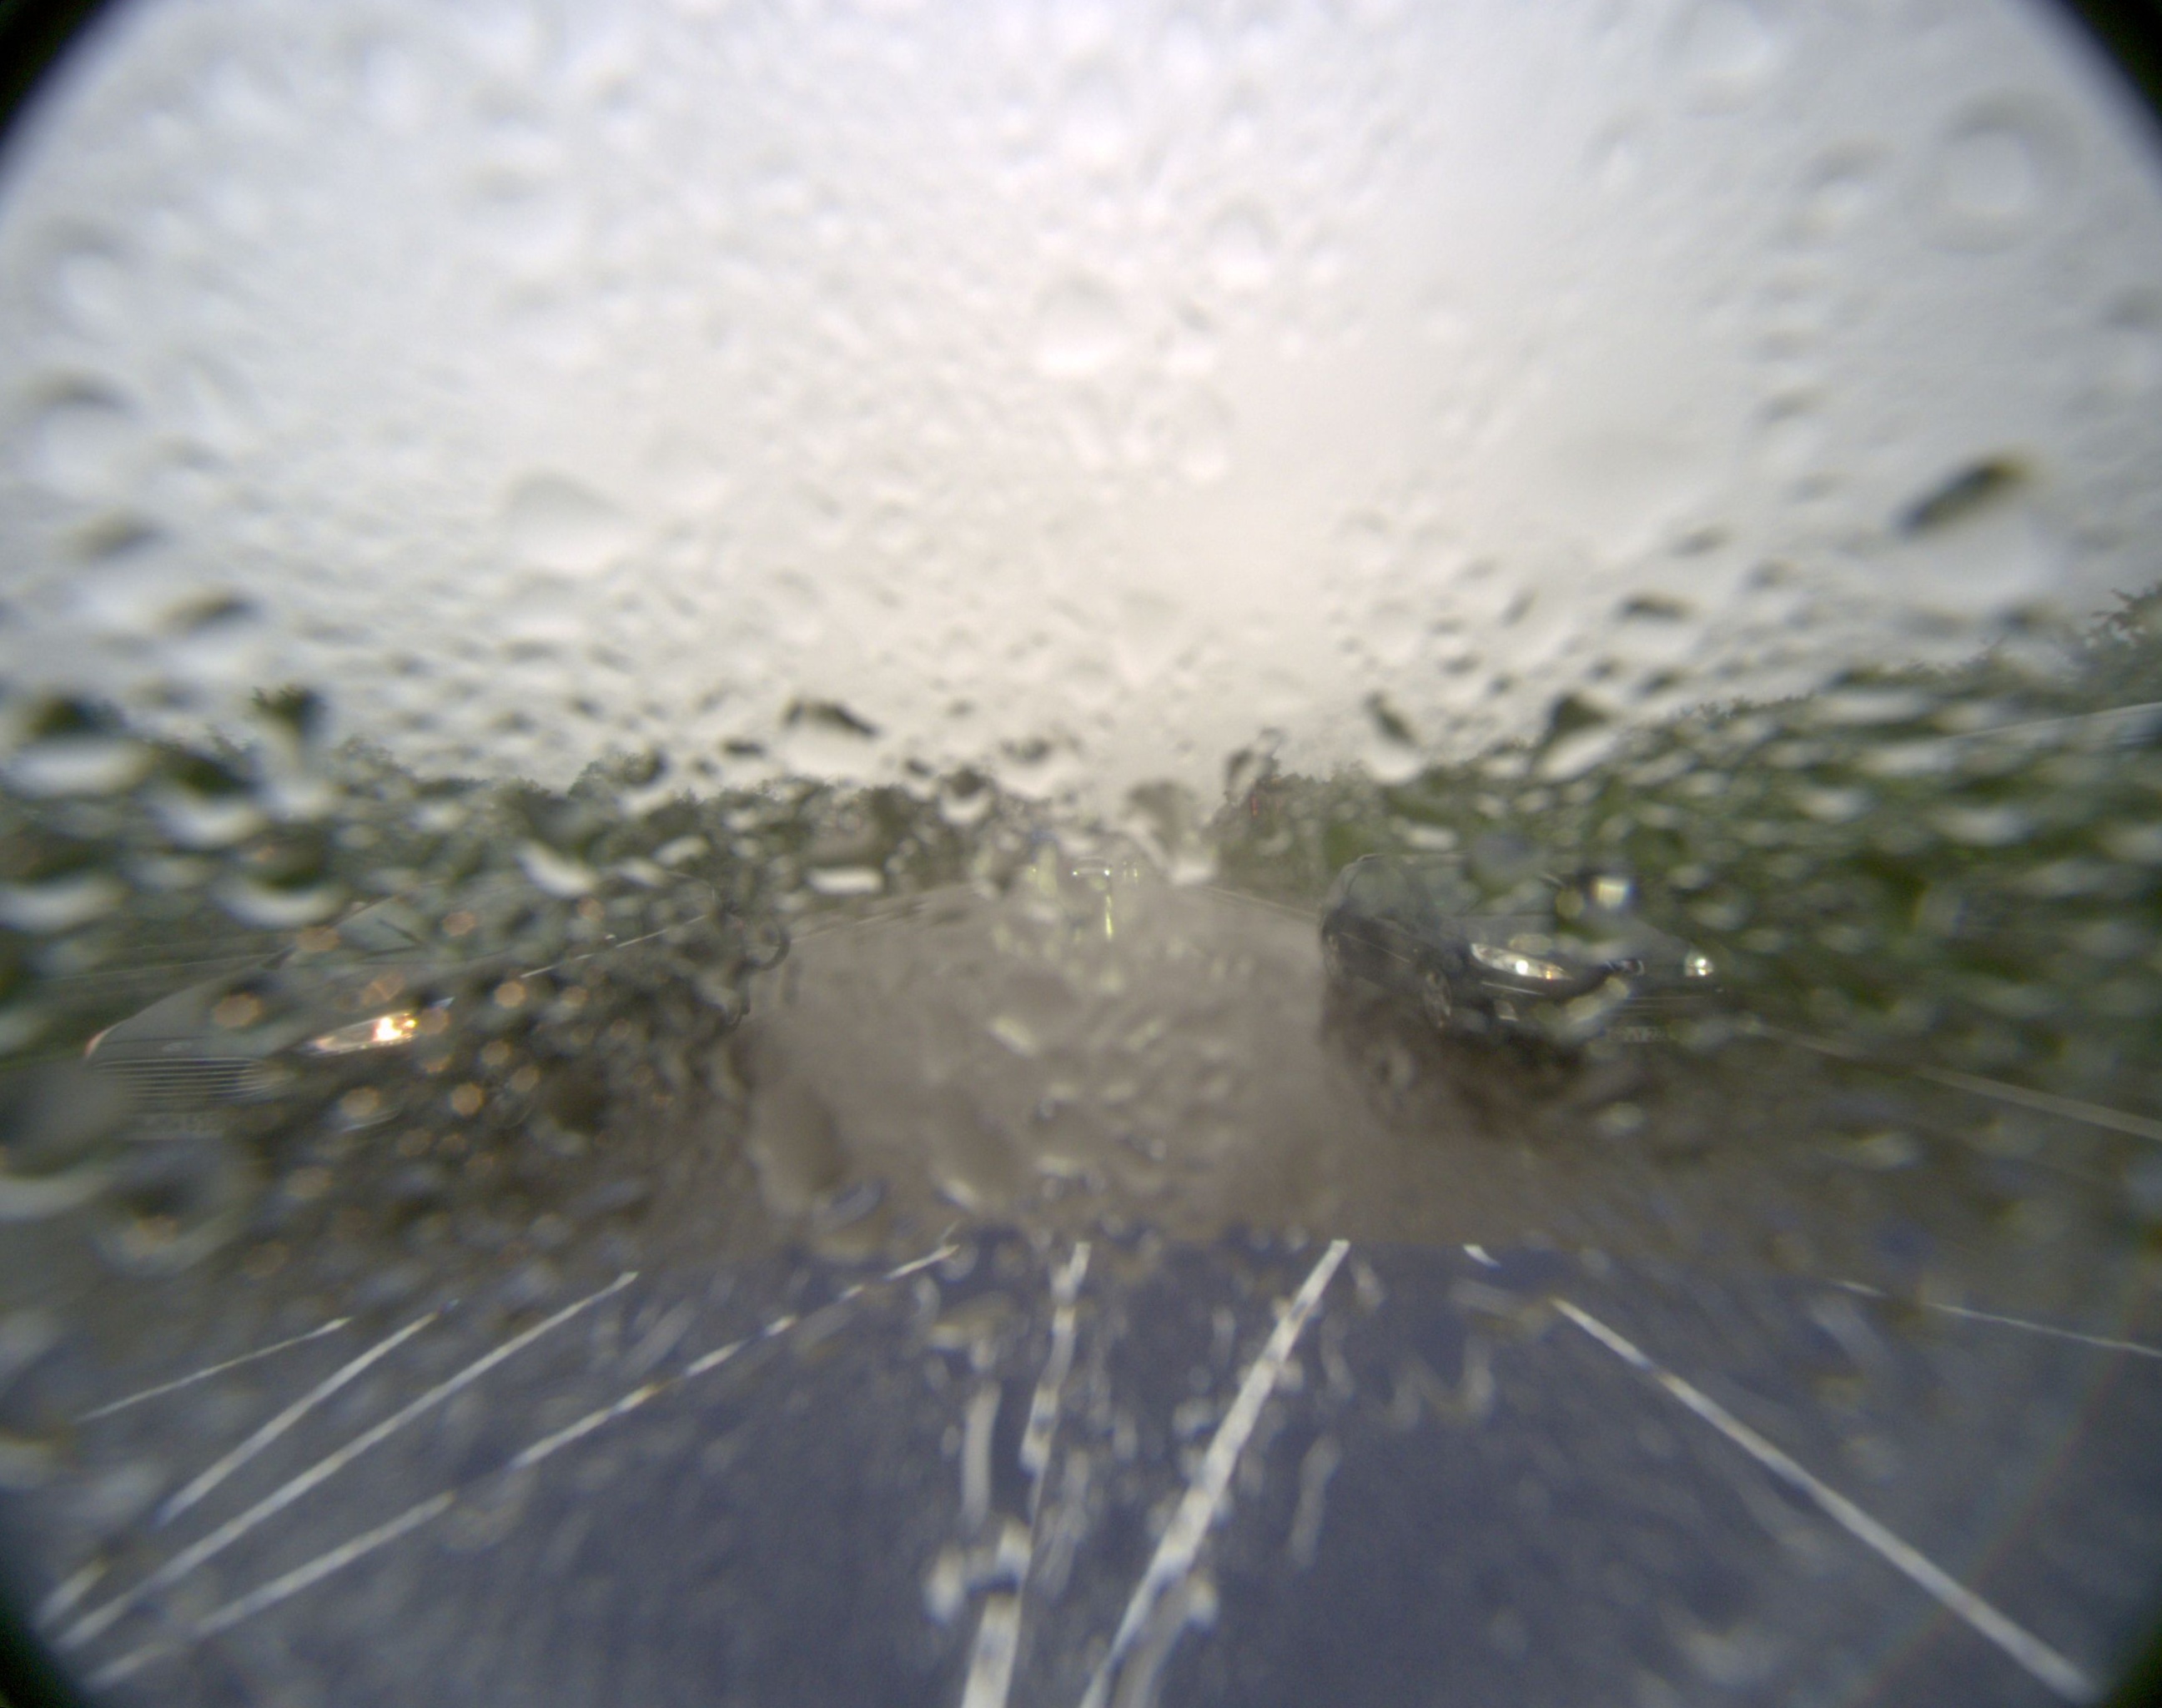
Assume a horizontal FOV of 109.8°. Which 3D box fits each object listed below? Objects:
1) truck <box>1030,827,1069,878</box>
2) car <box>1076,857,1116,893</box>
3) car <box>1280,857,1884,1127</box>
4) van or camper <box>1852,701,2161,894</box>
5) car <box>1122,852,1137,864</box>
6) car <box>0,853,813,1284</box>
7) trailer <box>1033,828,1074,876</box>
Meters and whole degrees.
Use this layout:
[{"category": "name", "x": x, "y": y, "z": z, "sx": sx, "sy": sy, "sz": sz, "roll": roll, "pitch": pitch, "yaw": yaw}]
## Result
[{"category": "truck", "x": -2.618, "y": -0.153, "z": 65.069, "sx": 2.755, "sy": 4.054, "sz": 6.483, "roll": -2, "pitch": 0, "yaw": 2}, {"category": "car", "x": 0.718, "y": 0.946, "z": 36.177, "sx": 1.751, "sy": 1.545, "sz": 4.090, "roll": -2, "pitch": 0, "yaw": 2}, {"category": "car", "x": 3.654, "y": 0.823, "z": 7.066, "sx": 2.060, "sy": 1.477, "sz": 5.156, "roll": -2, "pitch": 0, "yaw": -2}, {"category": "van or camper", "x": 13.030, "y": -0.655, "z": 9.385, "sx": 1.998, "sy": 2.143, "sz": 4.946, "roll": -2, "pitch": 0, "yaw": 1}, {"category": "car", "x": 6.528, "y": 0.528, "z": 103.173, "sx": 1.899, "sy": 1.533, "sz": 4.091, "roll": -2, "pitch": 0, "yaw": 3}, {"category": "car", "x": -4.366, "y": 0.909, "z": 6.017, "sx": 2.464, "sy": 1.736, "sz": 5.718, "roll": -2, "pitch": 0, "yaw": -1}, {"category": "trailer", "x": -2.389, "y": -0.198, "z": 72.216, "sx": 2.750, "sy": 3.941, "sz": 14.130, "roll": -2, "pitch": 0, "yaw": 2}]
